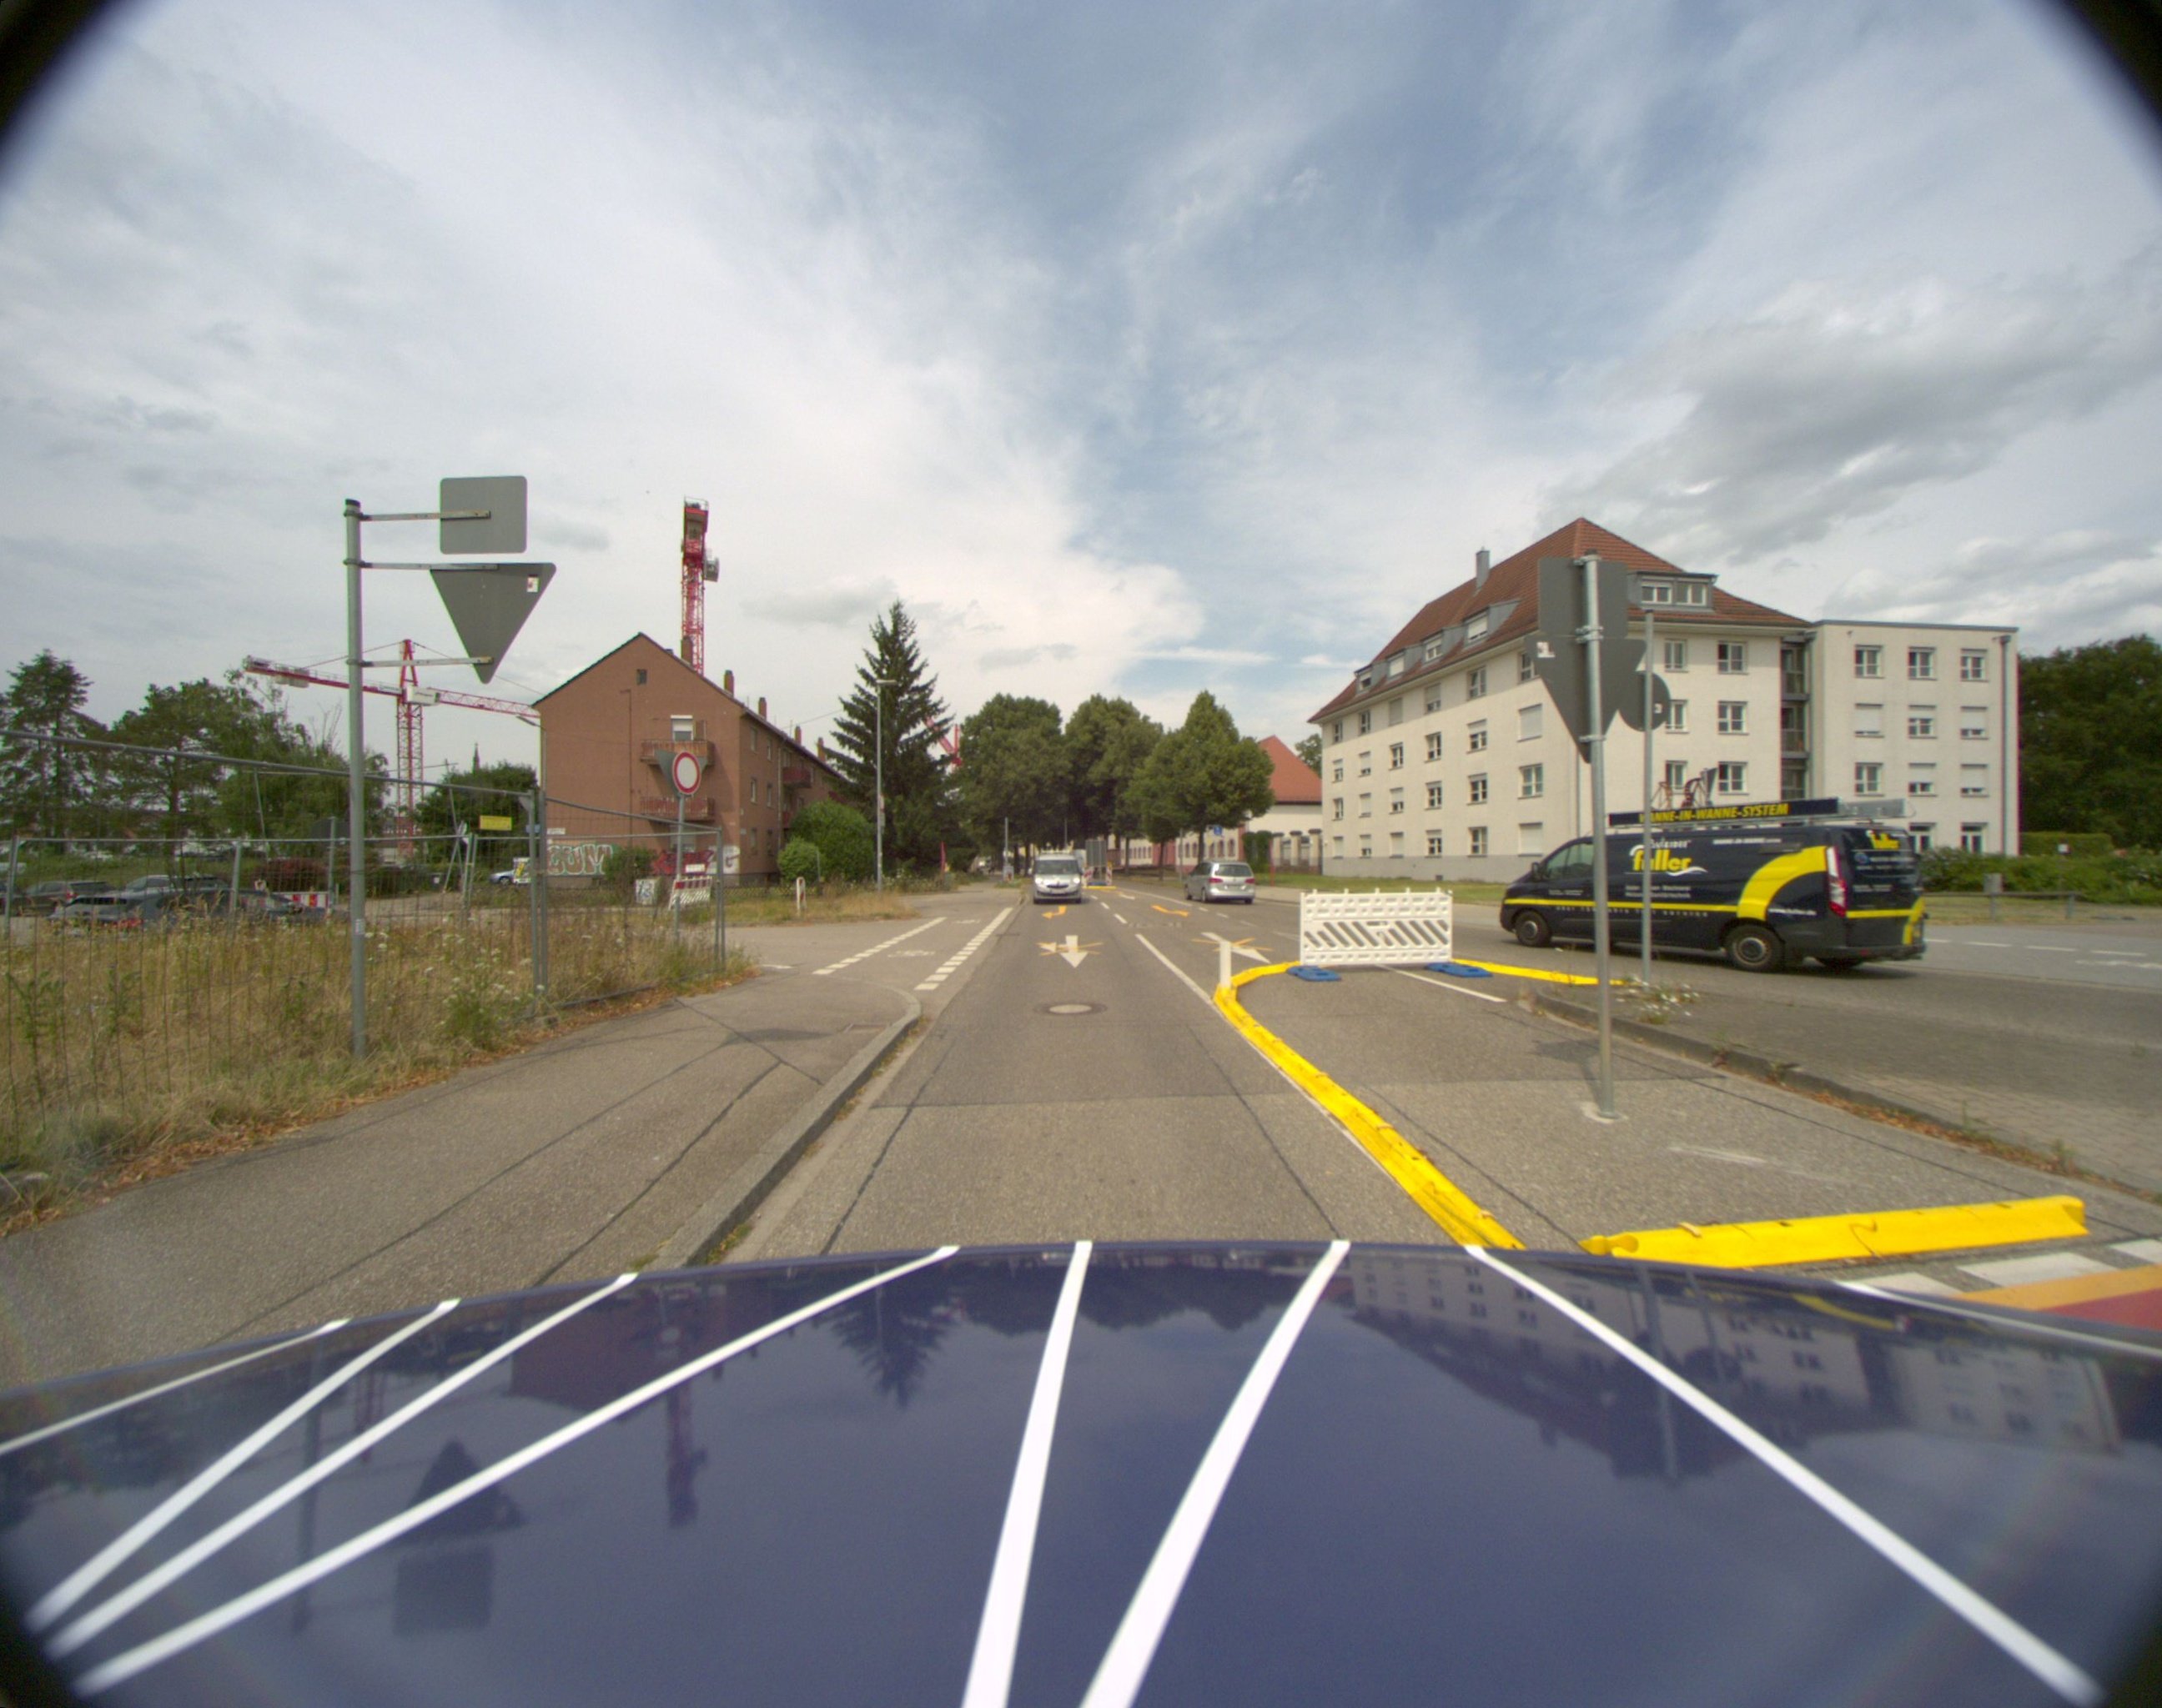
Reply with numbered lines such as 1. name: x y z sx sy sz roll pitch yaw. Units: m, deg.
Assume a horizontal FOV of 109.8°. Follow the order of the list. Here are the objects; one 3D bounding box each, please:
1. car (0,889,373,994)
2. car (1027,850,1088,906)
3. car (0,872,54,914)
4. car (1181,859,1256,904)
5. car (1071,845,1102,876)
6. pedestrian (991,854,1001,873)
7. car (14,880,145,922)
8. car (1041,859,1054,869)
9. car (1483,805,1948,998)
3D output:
1. car: -16.205 1.497 14.187 1.765 1.465 4.261 -1 0 5
2. car: -0.968 0.833 28.769 1.811 1.936 4.581 -1 0 -8
3. car: -46.725 1.668 32.459 4.006 1.739 1.859 -1 0 12
4. car: 5.345 1.030 30.082 1.801 1.613 4.746 -1 0 -4
5. car: 0.452 0.595 71.050 2.071 2.670 5.967 -1 0 -7
6. pedestrian: -8.962 0.968 79.688 0.857 2.002 0.730 -1 0 -23
7. car: -41.684 1.927 31.652 4.006 1.593 1.804 -1 0 13
8. car: -4.851 1.380 110.110 1.677 1.402 3.918 -1 0 -5
9. car: 9.104 0.576 11.647 2.002 2.259 5.151 -1 0 -20
